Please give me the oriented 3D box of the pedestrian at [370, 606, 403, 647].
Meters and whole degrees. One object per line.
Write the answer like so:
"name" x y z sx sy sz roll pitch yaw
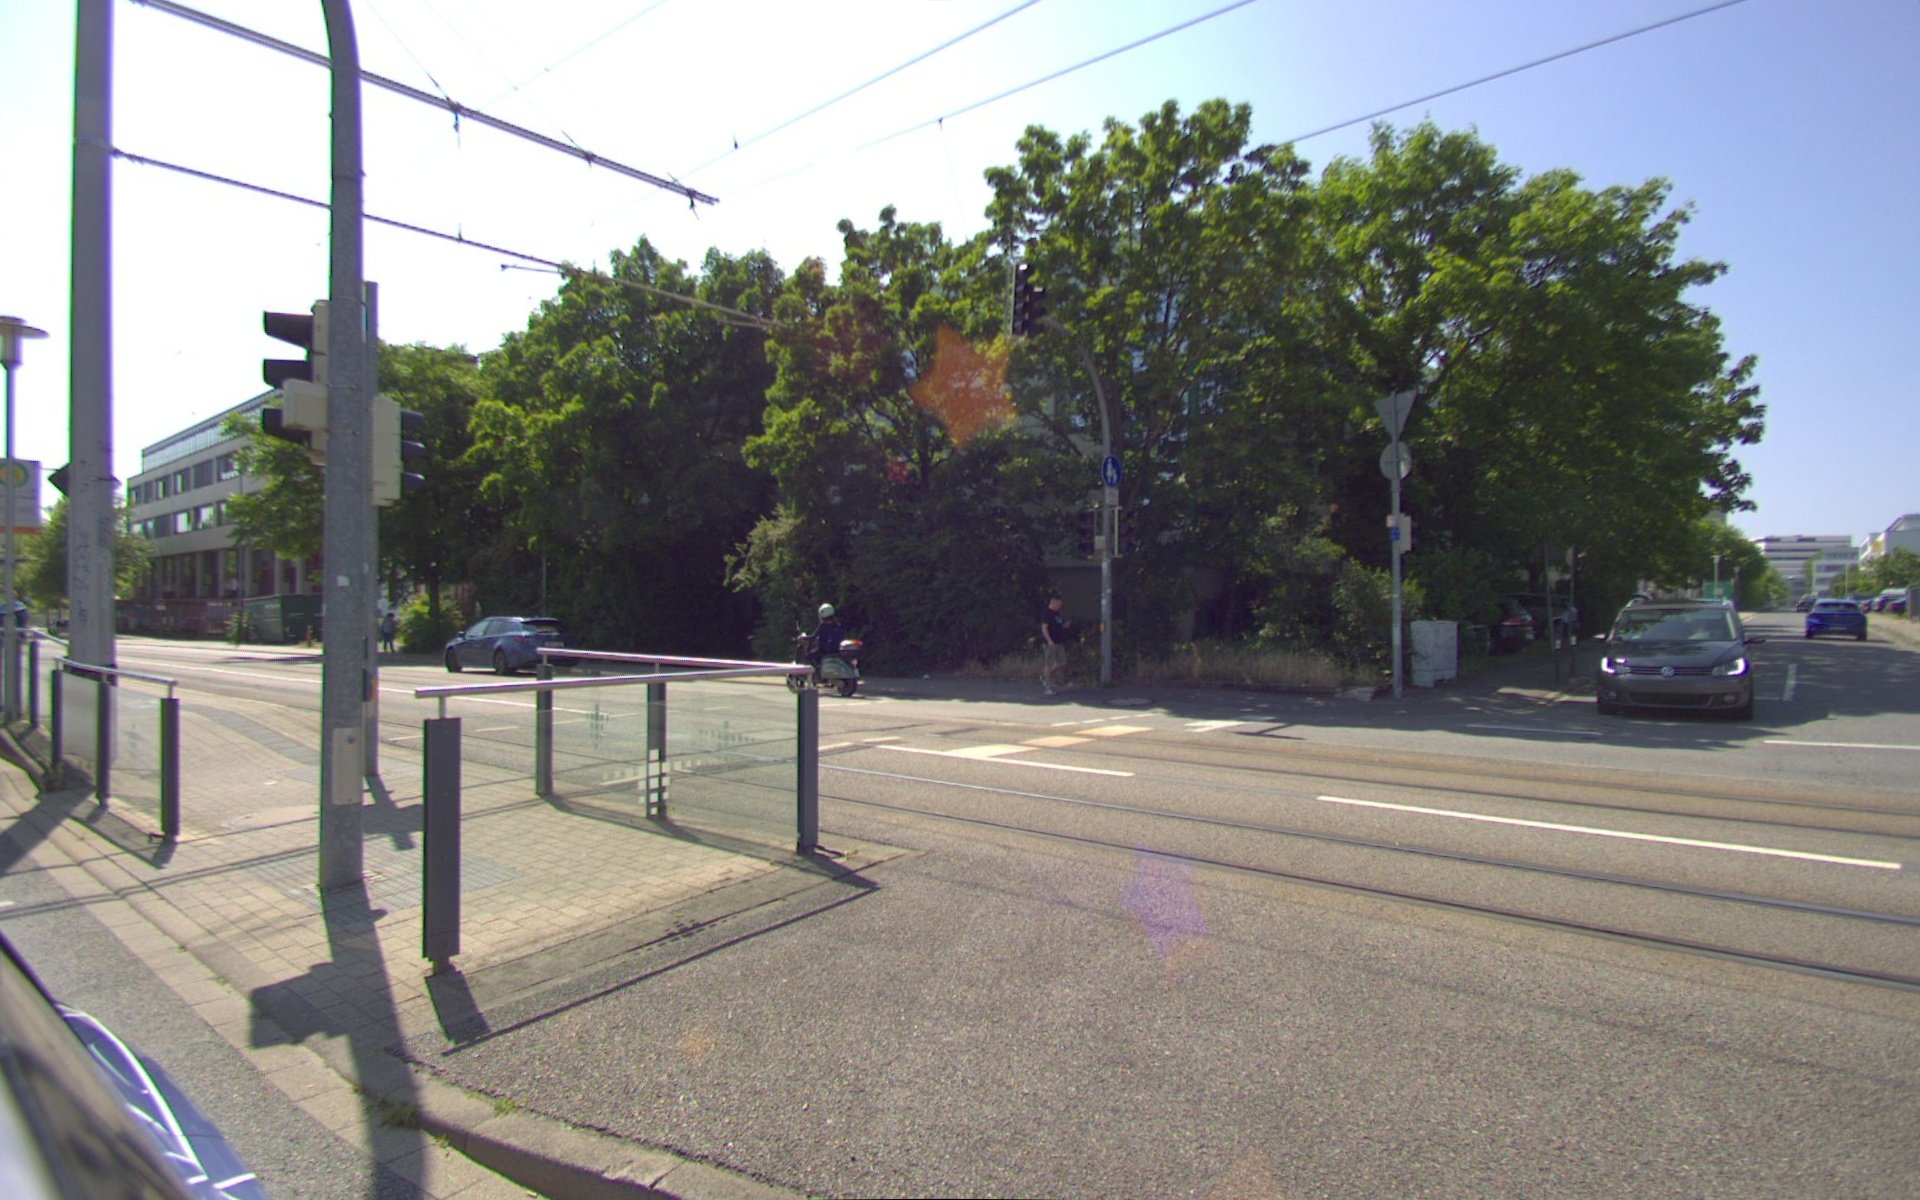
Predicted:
"pedestrian" -21.829 1.017 38.521 0.845 1.538 0.862 -1 -1 39

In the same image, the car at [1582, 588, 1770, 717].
"car" 10.565 0.649 14.812 1.931 1.595 4.136 -1 0 40

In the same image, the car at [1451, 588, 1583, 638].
"car" 19.231 0.466 35.018 3.858 1.650 1.606 -1 -1 35

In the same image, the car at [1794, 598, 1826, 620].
"car" 82.944 0.891 98.730 3.940 2.029 1.917 1 -1 -44

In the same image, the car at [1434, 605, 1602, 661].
"car" 15.575 0.913 28.456 3.834 1.478 1.617 0 -1 17

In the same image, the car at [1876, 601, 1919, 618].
"car" 77.102 0.782 82.564 3.430 1.437 1.332 -1 -1 41

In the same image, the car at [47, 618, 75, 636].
"car" -83.804 2.564 94.365 1.844 1.630 4.004 2 -3 -42

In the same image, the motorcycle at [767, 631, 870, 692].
"motorcycle" -2.553 1.073 18.168 1.965 1.019 0.813 -1 -2 45

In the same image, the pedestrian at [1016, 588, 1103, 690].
"pedestrian" 1.740 0.665 17.671 1.159 1.682 0.877 -2 2 40

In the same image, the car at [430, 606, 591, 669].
"car" -11.452 0.947 25.654 4.592 1.453 1.887 -1 -4 40

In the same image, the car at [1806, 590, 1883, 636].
"car" 31.793 0.474 36.351 4.101 1.548 1.807 1 -2 -45

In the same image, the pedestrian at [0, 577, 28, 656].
"pedestrian" -21.625 0.375 22.883 0.944 1.738 0.716 -2 -1 40

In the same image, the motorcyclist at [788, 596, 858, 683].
"motorcyclist" -2.452 0.694 18.069 0.963 1.486 0.826 -1 -2 44

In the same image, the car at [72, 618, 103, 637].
"car" -77.640 2.482 90.030 1.969 1.635 4.004 2 -3 -42

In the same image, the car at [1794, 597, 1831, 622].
"car" 57.053 0.668 67.755 1.804 1.614 3.947 -1 -1 39
